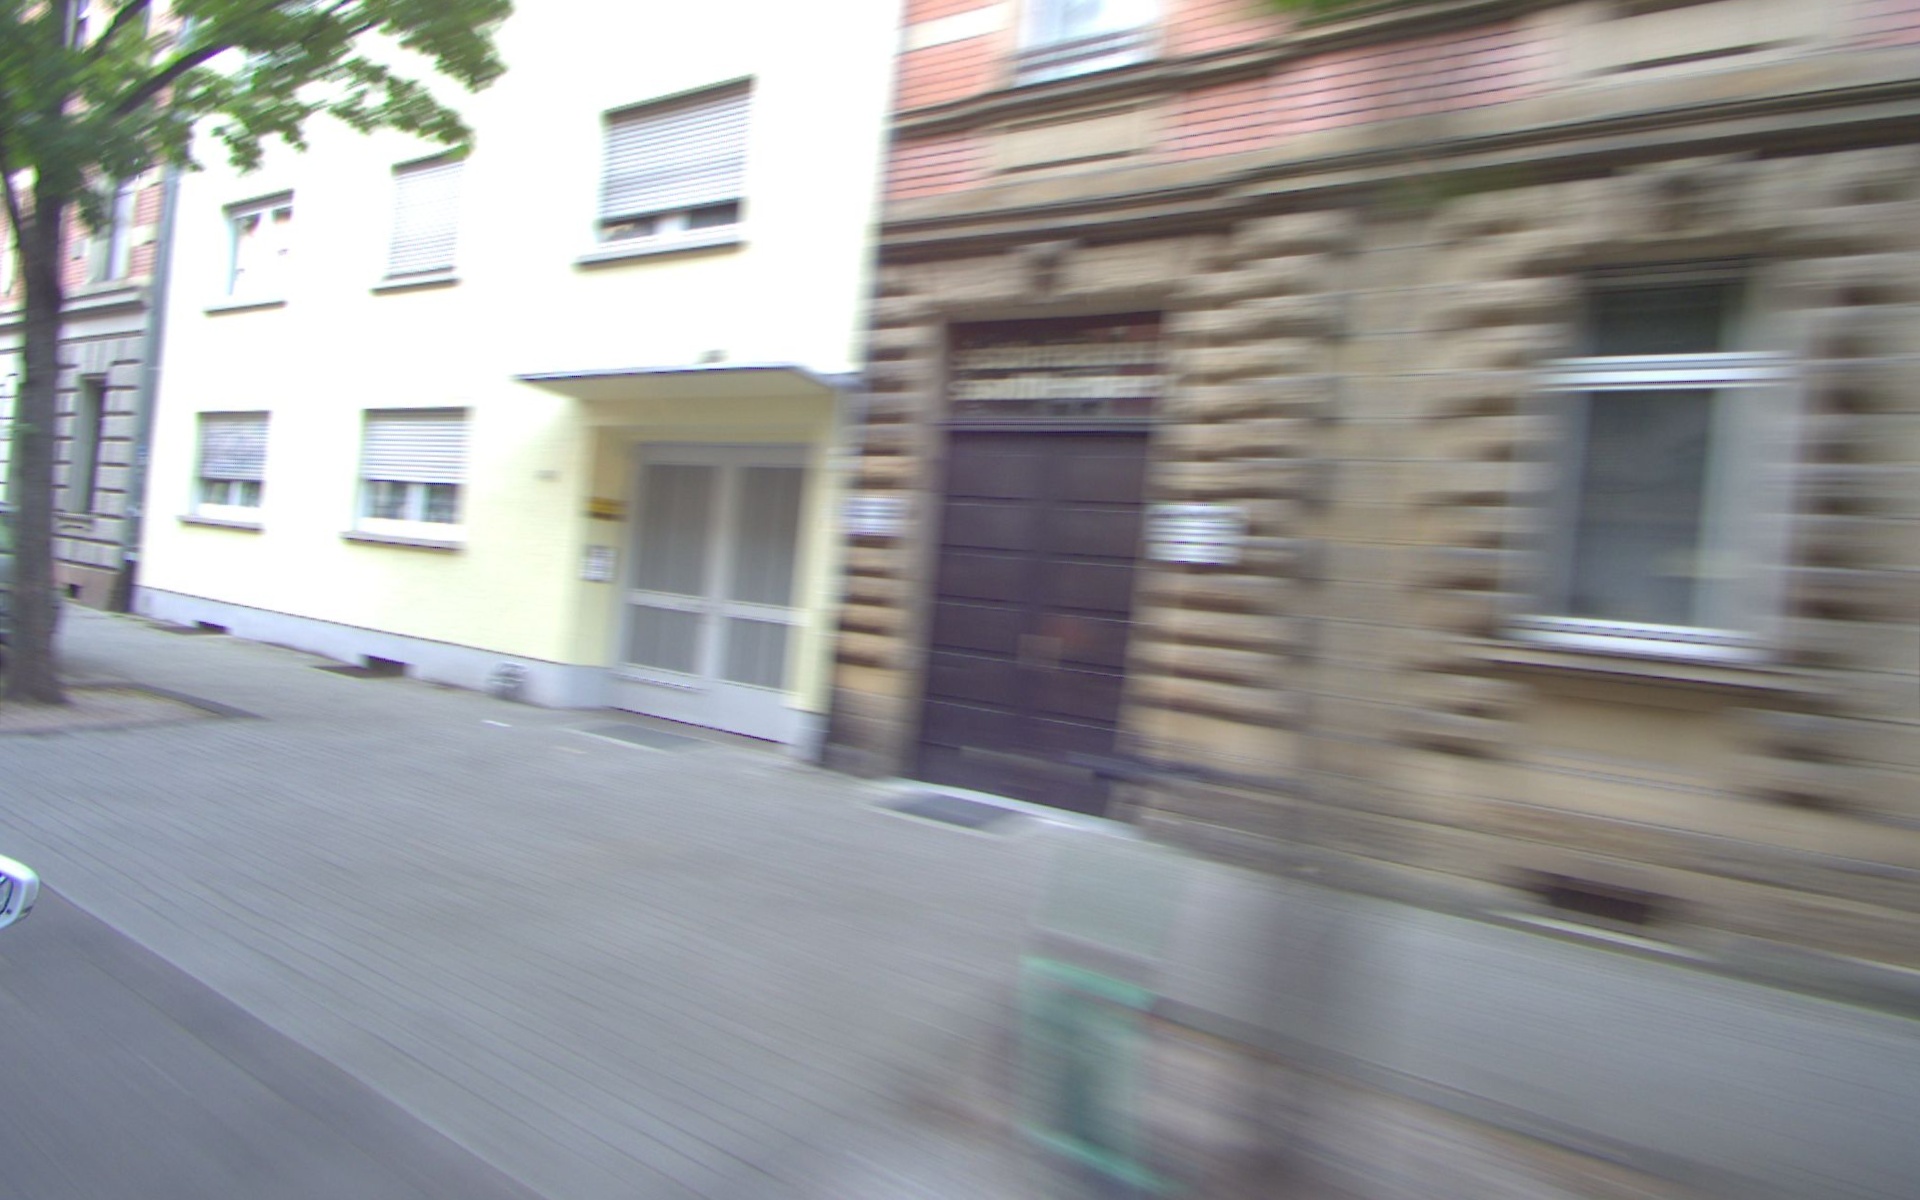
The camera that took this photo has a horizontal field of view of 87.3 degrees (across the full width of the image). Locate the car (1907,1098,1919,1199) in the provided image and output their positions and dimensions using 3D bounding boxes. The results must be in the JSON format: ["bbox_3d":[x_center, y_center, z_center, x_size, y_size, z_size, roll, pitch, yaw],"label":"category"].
[{"bbox_3d":[4.208,1.013,0.670,4.730,1.857,2.015,6,1,31],"label":"car"}]

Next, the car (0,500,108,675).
[{"bbox_3d":[-10.068,-0.308,9.455,4.235,1.481,1.761,6,0,30],"label":"car"}]

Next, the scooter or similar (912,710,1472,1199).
[{"bbox_3d":[0.410,0.938,2.296,0.665,1.206,1.111,4,1,-19],"label":"scooter or similar"}]
